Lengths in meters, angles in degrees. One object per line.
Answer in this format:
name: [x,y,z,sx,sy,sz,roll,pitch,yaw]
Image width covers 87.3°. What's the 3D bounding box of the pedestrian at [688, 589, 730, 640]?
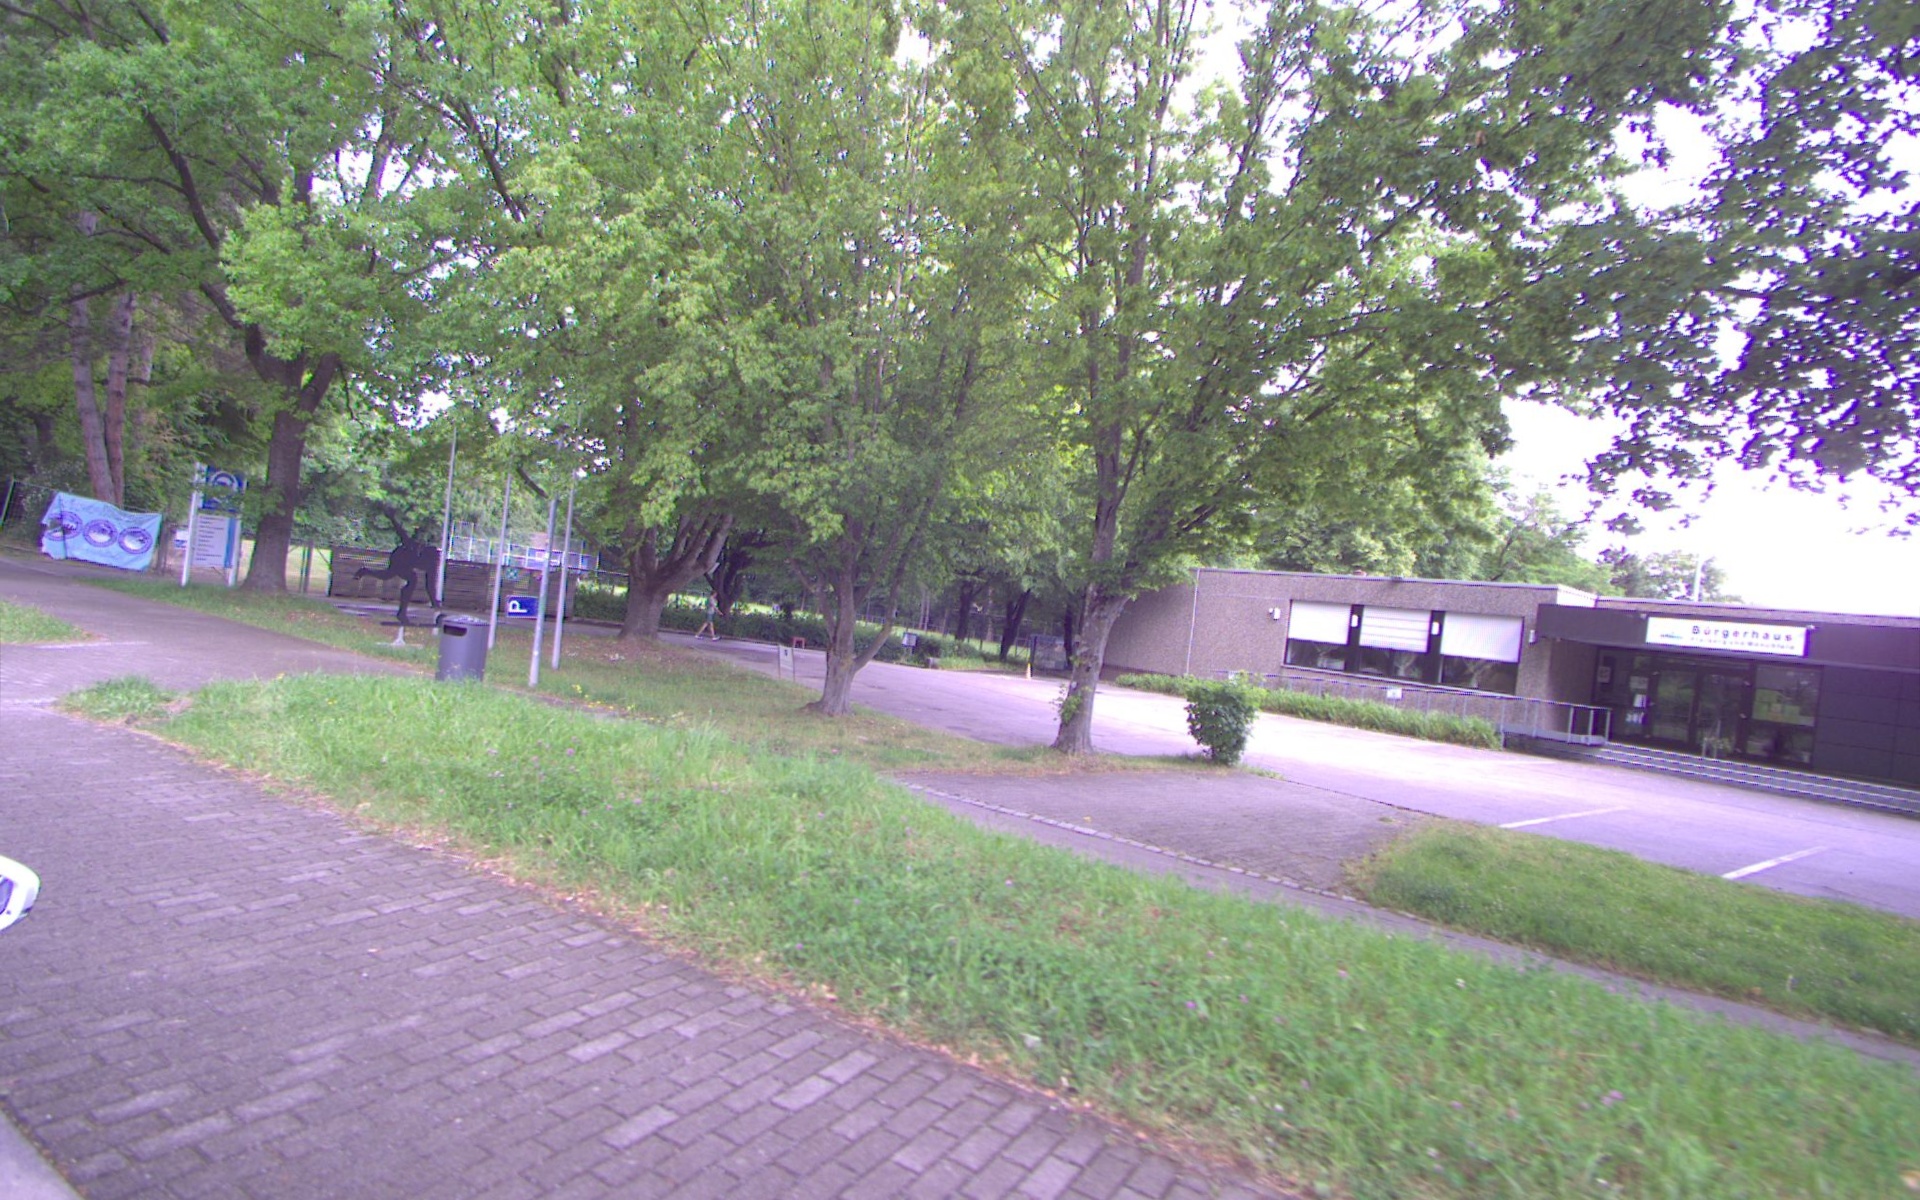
pedestrian: [-9.046,0.529,36.274,1.139,1.695,0.786,5,0,-33]
